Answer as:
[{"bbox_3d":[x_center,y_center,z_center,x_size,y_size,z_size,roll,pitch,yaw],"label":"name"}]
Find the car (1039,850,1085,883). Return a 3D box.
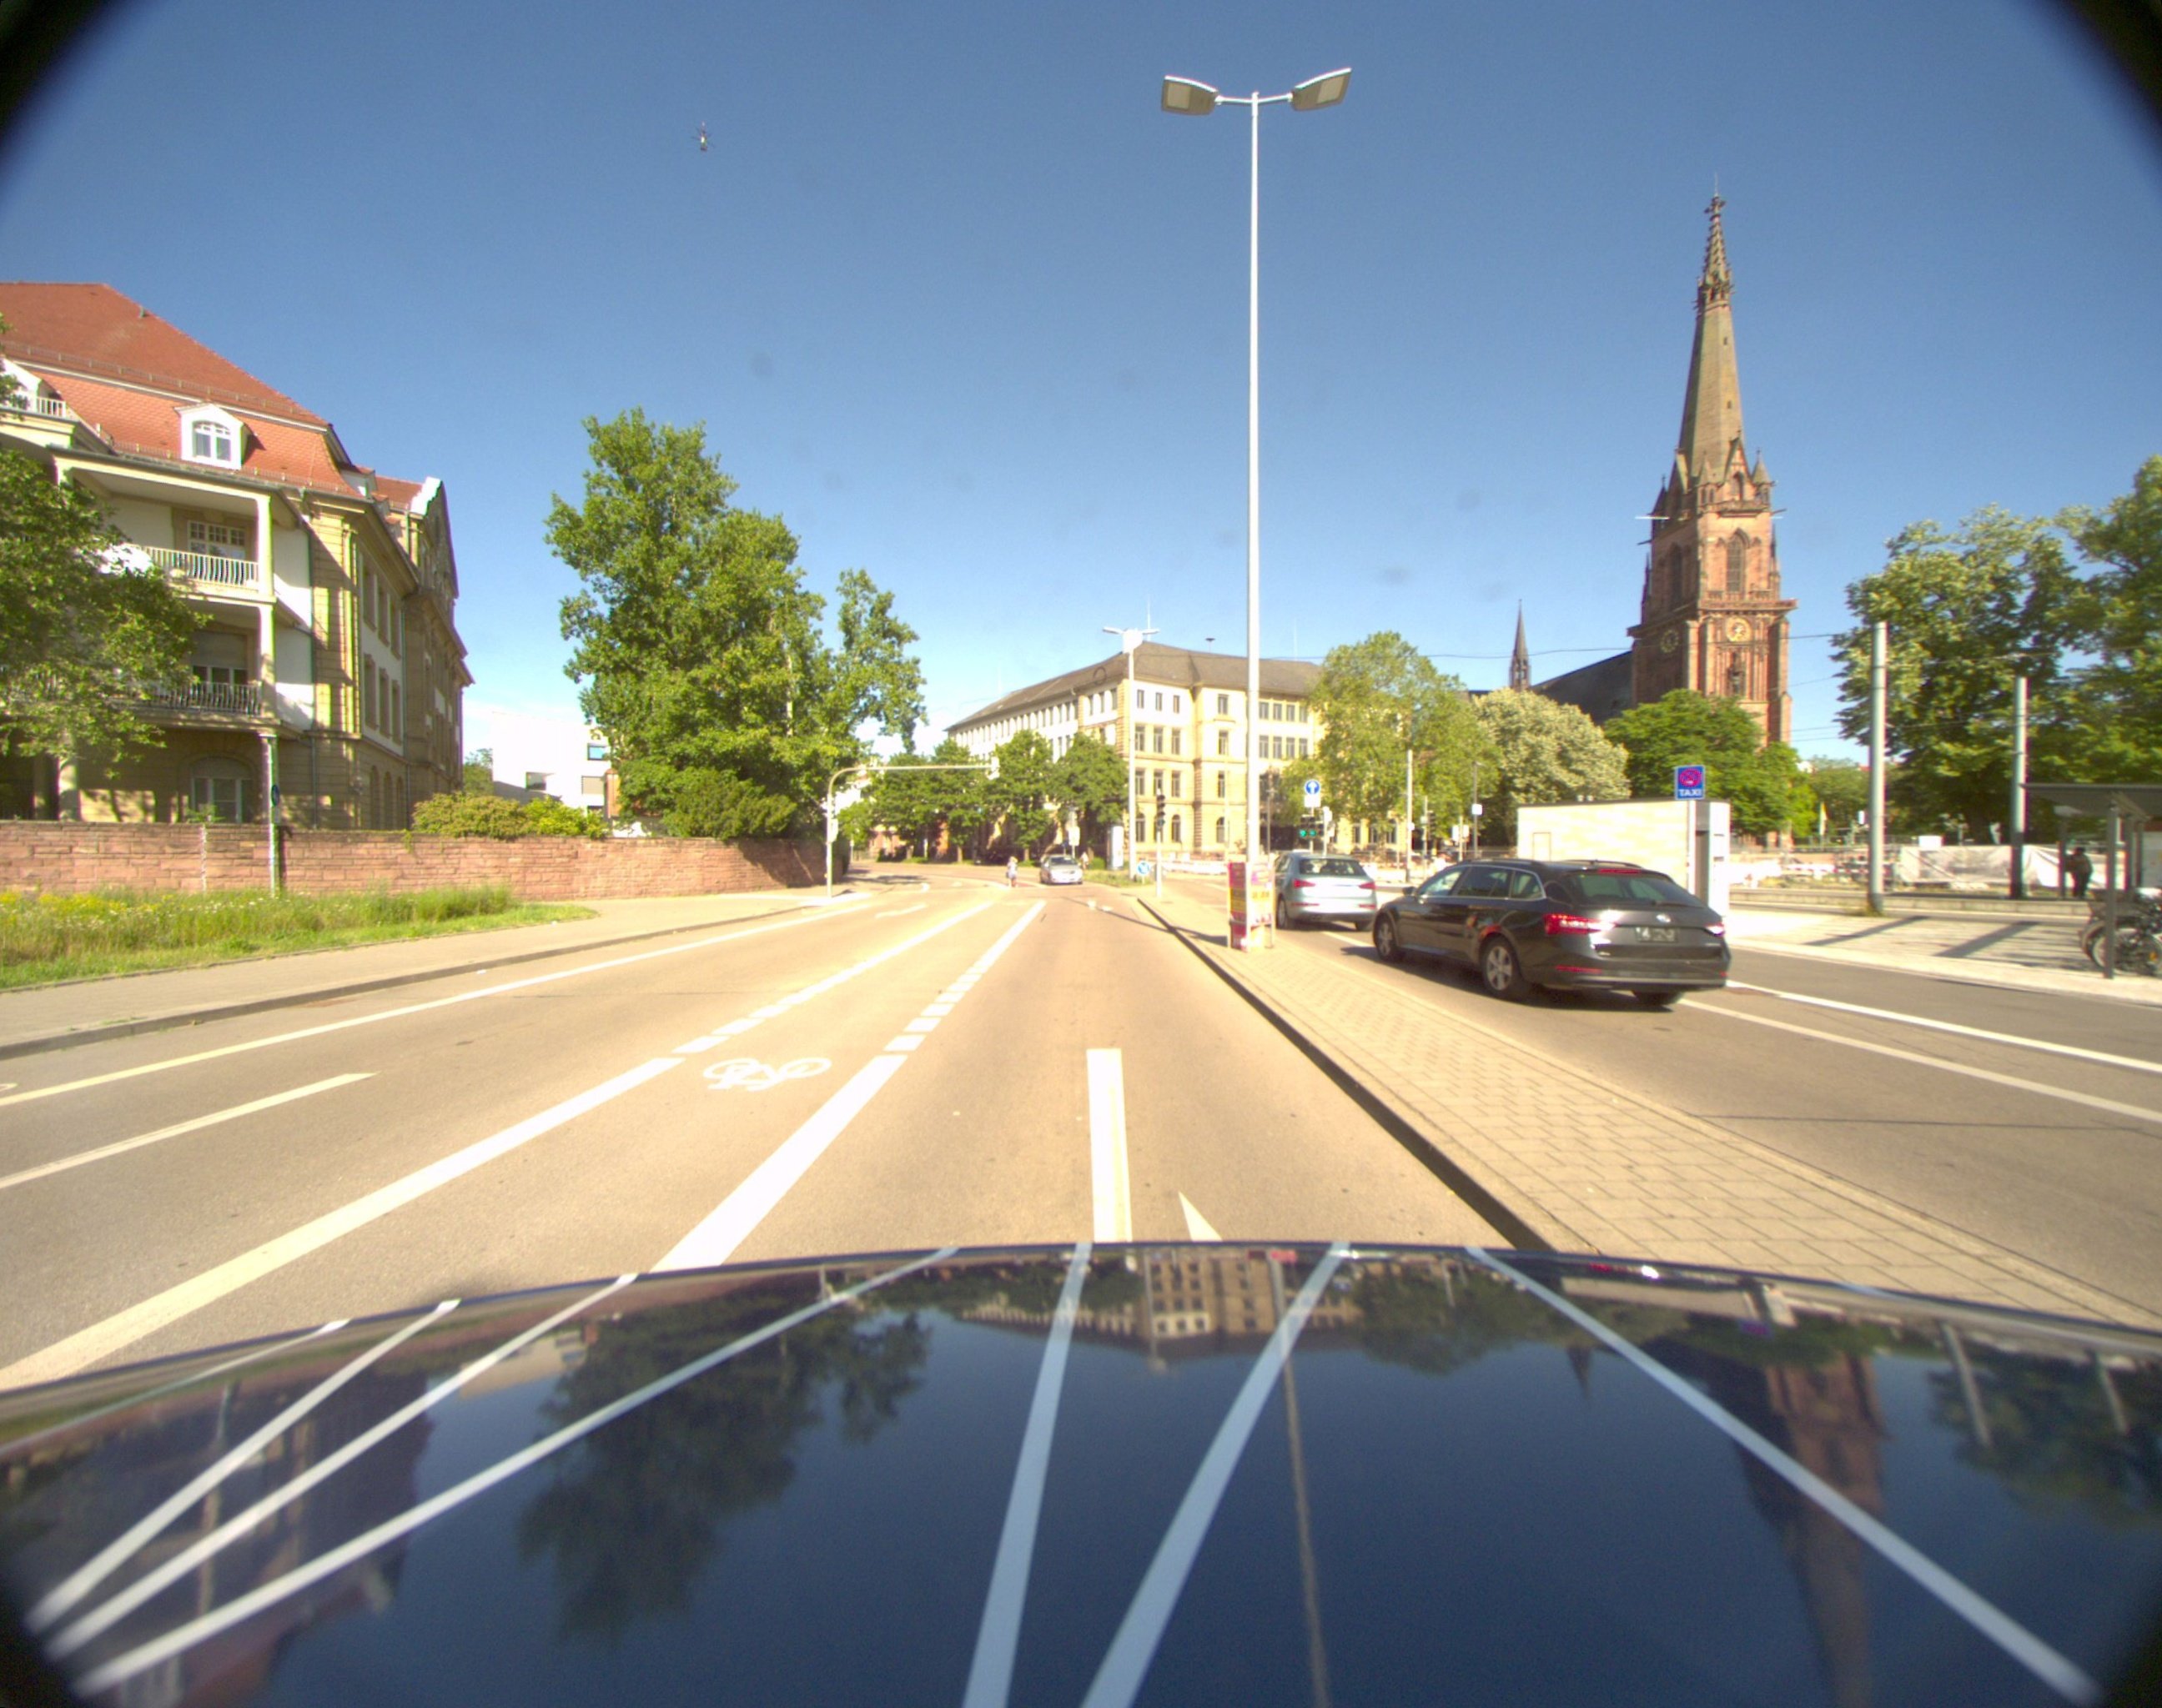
[{"bbox_3d":[-1.067,0.635,41.026,1.708,1.657,3.909,-2,1,-13],"label":"car"}]

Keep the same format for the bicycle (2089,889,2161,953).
[{"bbox_3d":[17.913,1.121,12.431,0.458,1.003,1.667,-1,1,-33],"label":"bicycle"}]

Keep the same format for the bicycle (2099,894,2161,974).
[{"bbox_3d":[15.200,1.126,10.283,0.458,1.055,1.667,-1,1,-33],"label":"bicycle"}]

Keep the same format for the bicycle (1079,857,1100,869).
[{"bbox_3d":[0.748,0.816,68.519,1.830,0.985,0.735,0,1,44],"label":"bicycle"}]

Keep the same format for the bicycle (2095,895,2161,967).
[{"bbox_3d":[16.073,1.147,10.979,0.458,1.003,1.667,-1,1,-33],"label":"bicycle"}]

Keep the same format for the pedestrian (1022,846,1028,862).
[{"bbox_3d":[-6.592,0.045,89.465,0.522,1.865,0.360,-1,1,-33],"label":"pedestrian"}]

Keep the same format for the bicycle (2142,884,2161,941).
[{"bbox_3d":[19.894,1.069,13.203,0.458,1.003,1.667,-1,1,-33],"label":"bicycle"}]

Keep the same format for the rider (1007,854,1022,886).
[{"bbox_3d":[-3.490,0.836,39.797,0.658,1.610,0.989,-1,1,1],"label":"rider"}]

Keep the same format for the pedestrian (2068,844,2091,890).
[{"bbox_3d":[37.571,0.491,28.581,0.404,1.711,0.419,1,1,38],"label":"pedestrian"}]

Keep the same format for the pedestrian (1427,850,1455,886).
[{"bbox_3d":[17.692,0.669,37.341,0.977,1.769,0.803,0,1,-1],"label":"pedestrian"}]

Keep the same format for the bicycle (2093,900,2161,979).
[{"bbox_3d":[14.699,1.165,9.968,0.458,1.003,1.667,-1,1,-33],"label":"bicycle"}]

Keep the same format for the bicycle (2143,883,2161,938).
[{"bbox_3d":[20.488,1.057,13.613,0.458,1.003,1.667,-1,1,-33],"label":"bicycle"}]

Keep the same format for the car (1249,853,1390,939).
[{"bbox_3d":[4.900,0.777,16.252,1.859,1.533,4.241,1,1,3],"label":"car"}]

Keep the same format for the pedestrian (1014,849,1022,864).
[{"bbox_3d":[-7.399,0.271,89.179,0.677,1.714,0.588,-1,2,-22],"label":"pedestrian"}]

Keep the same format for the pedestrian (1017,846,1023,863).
[{"bbox_3d":[-7.141,0.051,89.087,0.522,1.882,0.360,-1,1,-33],"label":"pedestrian"}]

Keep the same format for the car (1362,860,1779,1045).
[{"bbox_3d":[5.059,0.867,8.825,1.793,1.490,4.574,1,1,-1],"label":"car"}]

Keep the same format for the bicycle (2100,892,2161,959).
[{"bbox_3d":[17.260,1.141,11.658,0.458,1.003,1.899,-1,1,-33],"label":"bicycle"}]

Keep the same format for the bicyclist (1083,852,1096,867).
[{"bbox_3d":[0.741,0.487,68.542,0.893,1.377,0.735,1,1,44],"label":"bicyclist"}]

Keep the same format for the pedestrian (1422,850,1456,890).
[{"bbox_3d":[16.025,0.694,34.029,0.977,1.769,1.131,0,1,-1],"label":"pedestrian"}]

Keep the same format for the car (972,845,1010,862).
[{"bbox_3d":[-10.728,-0.041,90.764,1.994,2.002,4.721,0,1,32],"label":"car"}]

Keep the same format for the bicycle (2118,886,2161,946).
[{"bbox_3d":[19.127,1.092,12.951,0.458,1.003,1.667,-1,1,-33],"label":"bicycle"}]

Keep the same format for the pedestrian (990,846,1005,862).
[{"bbox_3d":[-9.653,-0.009,87.738,0.934,1.812,1.394,1,1,45],"label":"pedestrian"}]
